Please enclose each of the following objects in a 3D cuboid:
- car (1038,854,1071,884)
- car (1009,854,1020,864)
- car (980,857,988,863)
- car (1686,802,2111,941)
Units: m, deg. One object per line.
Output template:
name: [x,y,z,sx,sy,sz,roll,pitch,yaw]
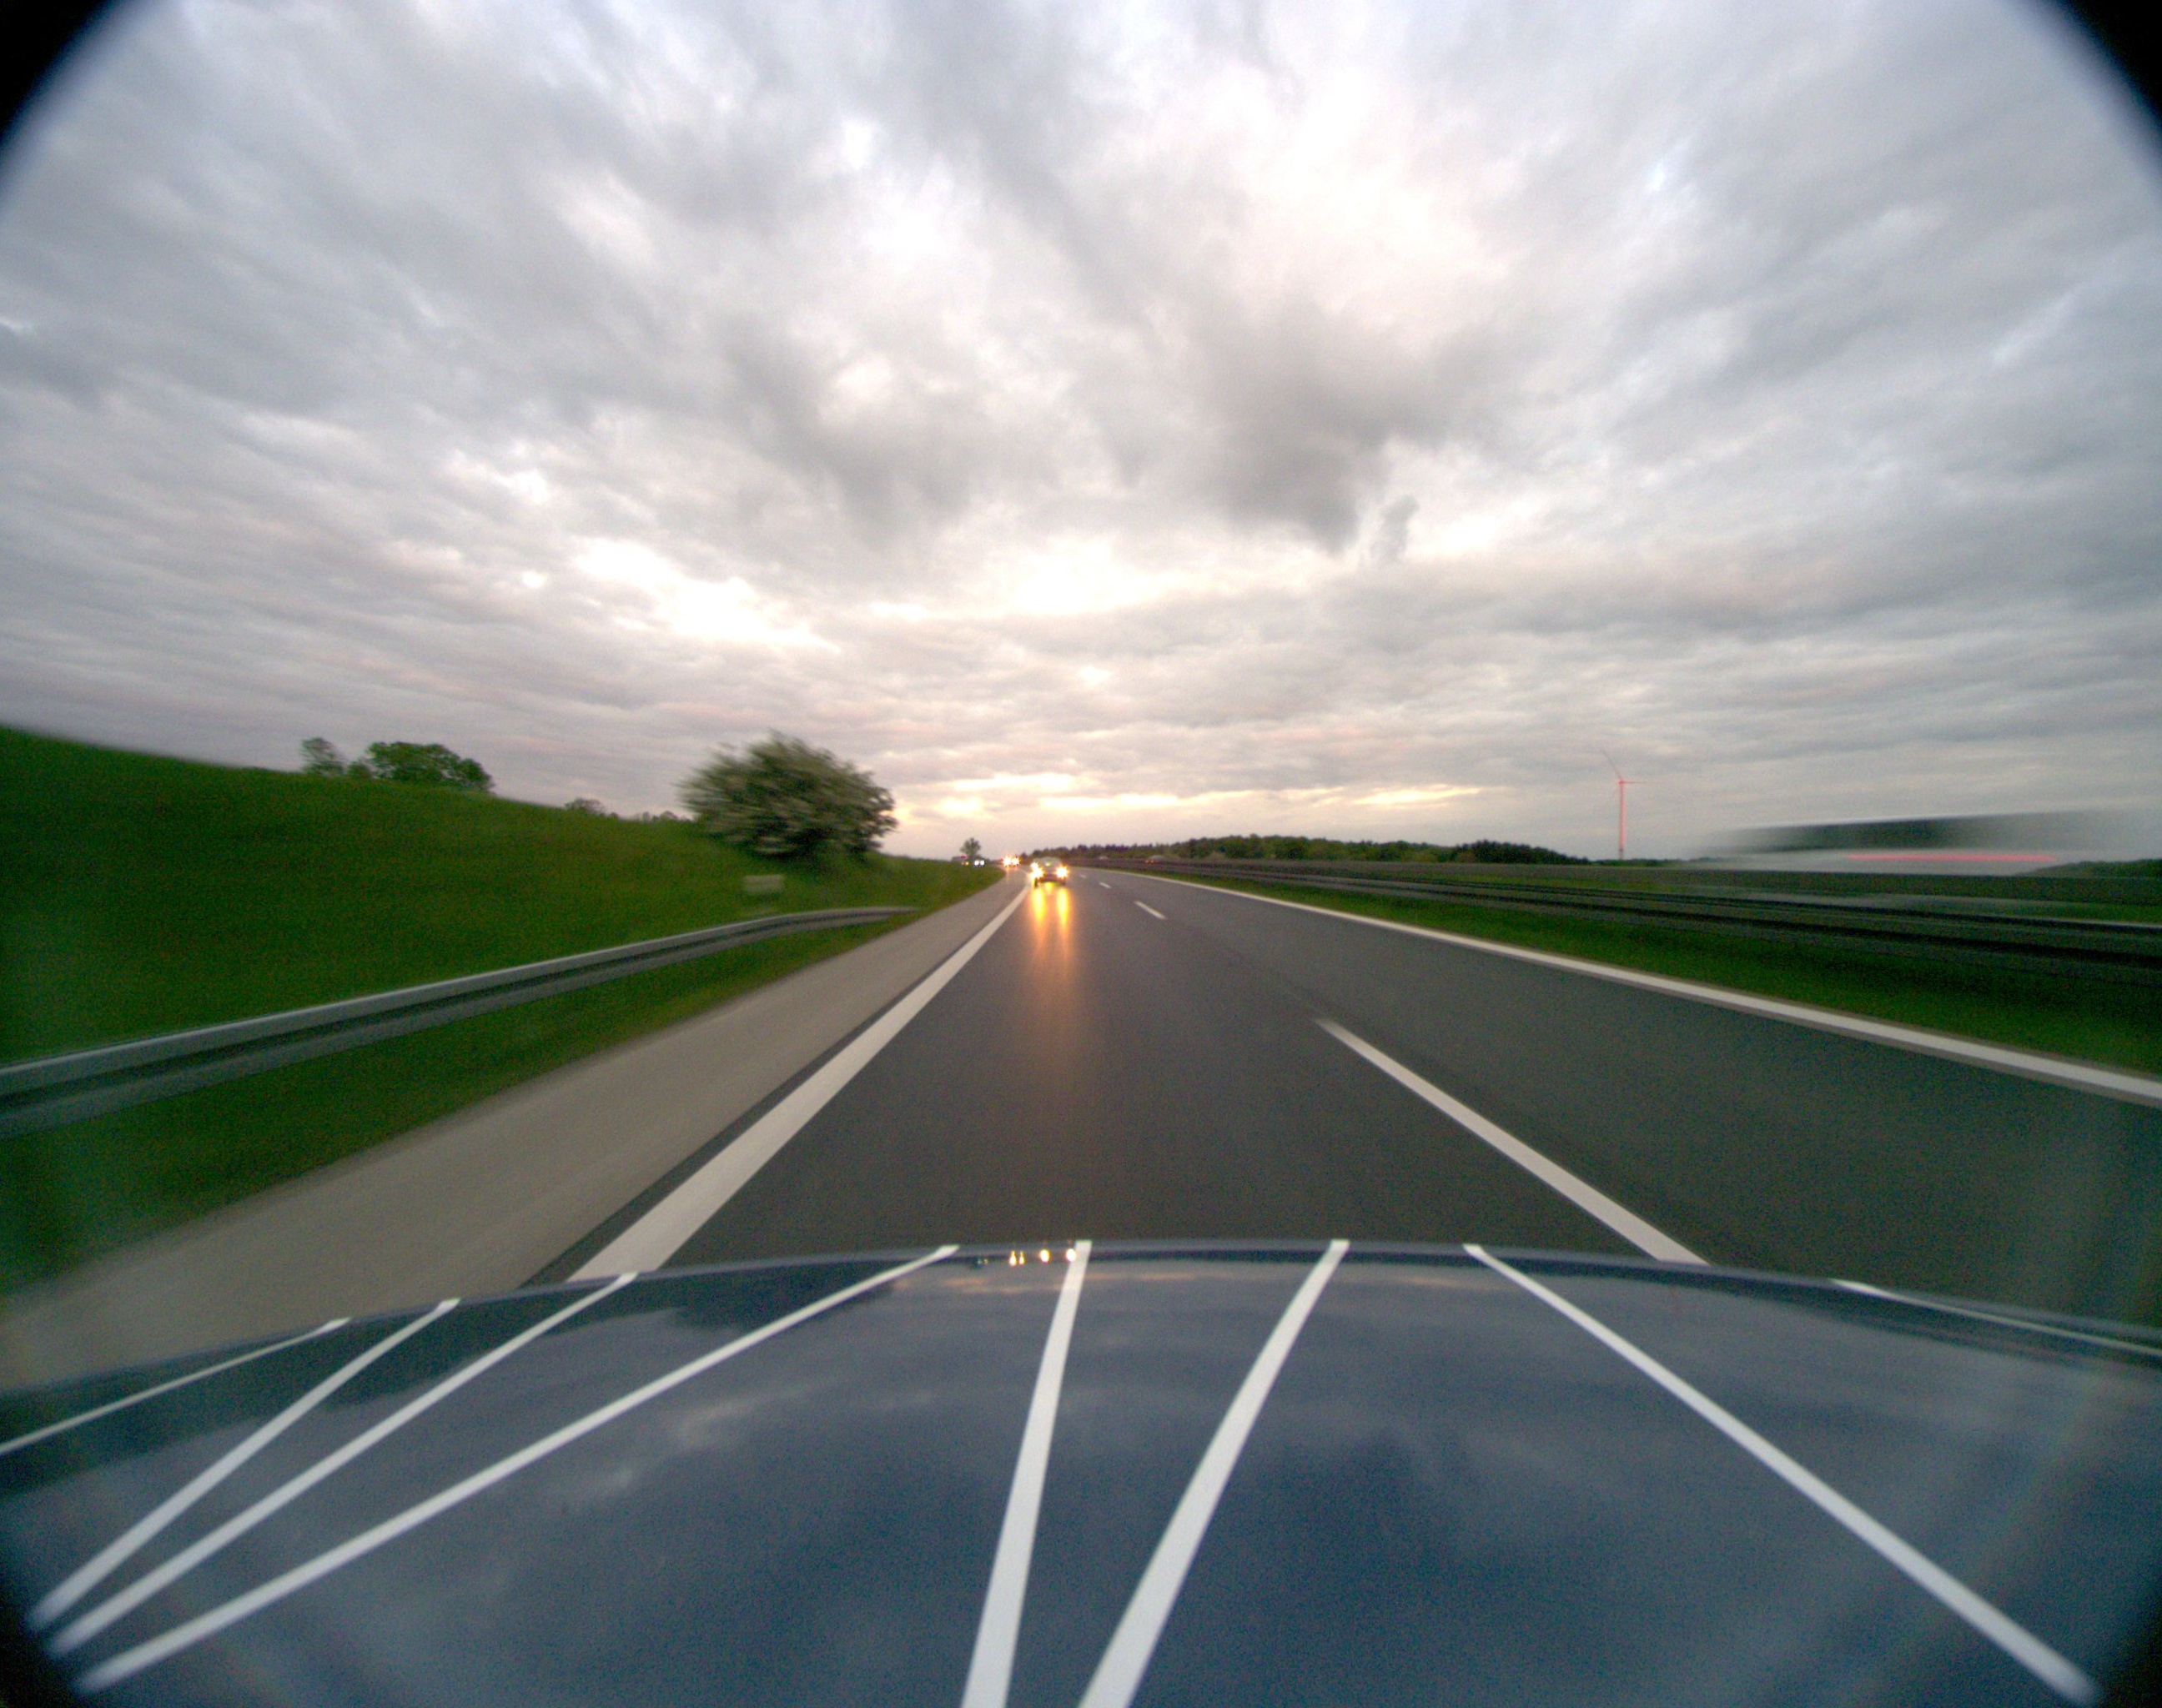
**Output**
car: [-1.526,0.791,41.962,1.682,1.504,3.999,-2,0,-3]
car: [-12.466,0.936,142.606,1.921,1.827,3.997,0,0,-8]
car: [-26.923,1.588,210.016,1.804,1.635,4.089,-1,0,-12]
car: [14.951,0.278,14.576,2.287,2.002,5.257,5,0,-1]
